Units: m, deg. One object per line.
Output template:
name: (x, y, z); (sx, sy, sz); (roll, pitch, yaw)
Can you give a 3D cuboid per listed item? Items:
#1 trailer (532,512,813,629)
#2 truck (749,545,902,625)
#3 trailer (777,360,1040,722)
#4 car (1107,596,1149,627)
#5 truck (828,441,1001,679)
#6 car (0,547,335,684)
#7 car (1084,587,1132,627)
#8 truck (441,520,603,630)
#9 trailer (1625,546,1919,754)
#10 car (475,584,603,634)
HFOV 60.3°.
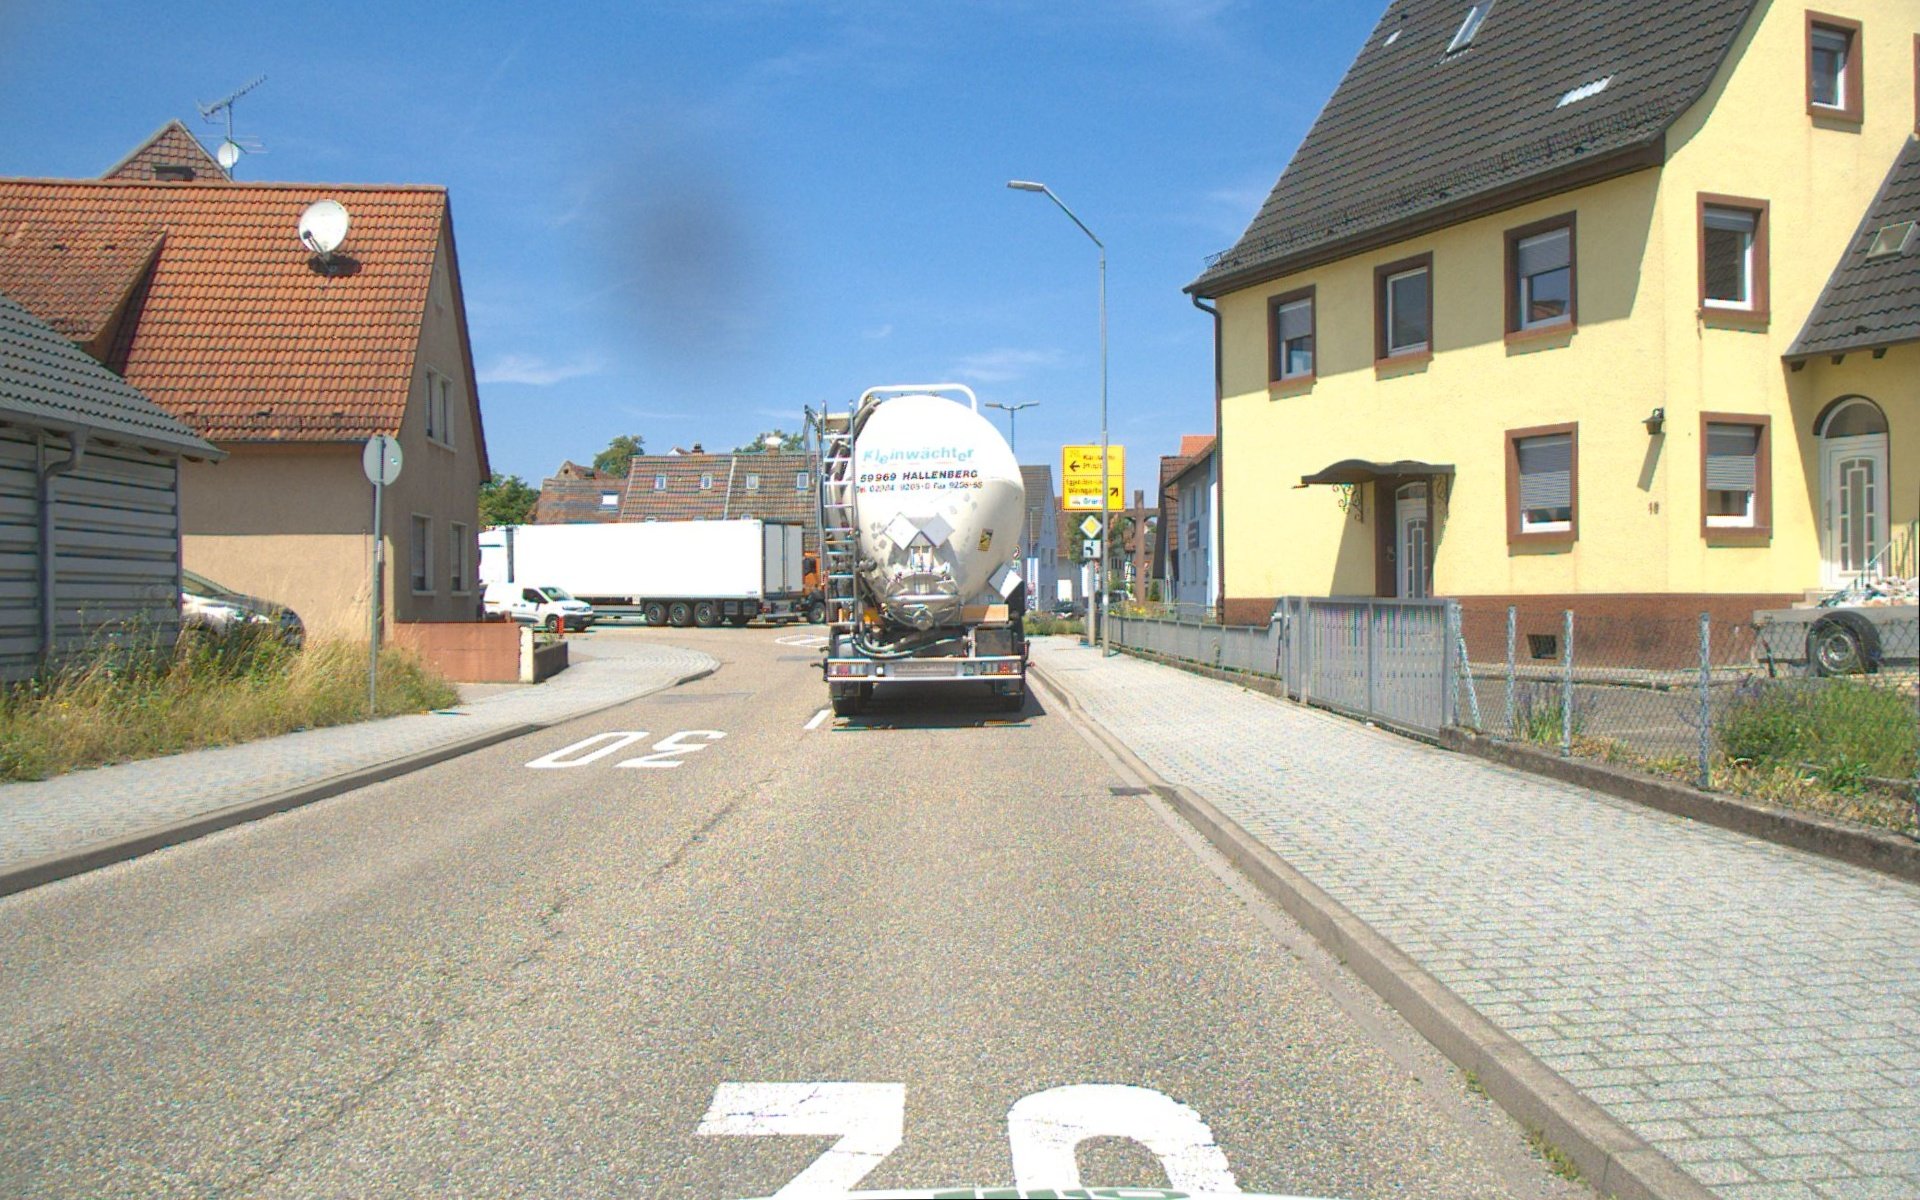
trailer: (-11.701, -1.048, 66.443); (12.229, 4.352, 3.134); (0, -1, 32)
truck: (-5.823, -0.565, 72.922); (2.615, 3.237, 7.437); (-1, -2, 35)
trailer: (-0.681, -0.613, 24.217); (2.892, 4.017, 11.615); (0, 0, -1)
car: (9.263, 0.636, 90.884); (1.778, 1.663, 4.211); (-1, 0, 13)
truck: (-0.771, -0.668, 30.950); (2.926, 4.034, 5.578); (0, -1, 0)
car: (-10.715, 0.204, 22.003); (4.039, 1.666, 1.865); (-1, 0, 1)
car: (7.520, 0.376, 83.937); (1.951, 1.946, 4.327); (0, -2, 12)
truck: (-18.430, -1.003, 69.741); (5.790, 4.478, 3.117); (0, -1, 16)
trailer: (8.577, 0.398, 14.768); (5.289, 1.573, 2.117); (0, -1, -30)
car: (-15.981, 0.320, 62.786); (4.414, 1.816, 1.880); (0, 1, 21)
